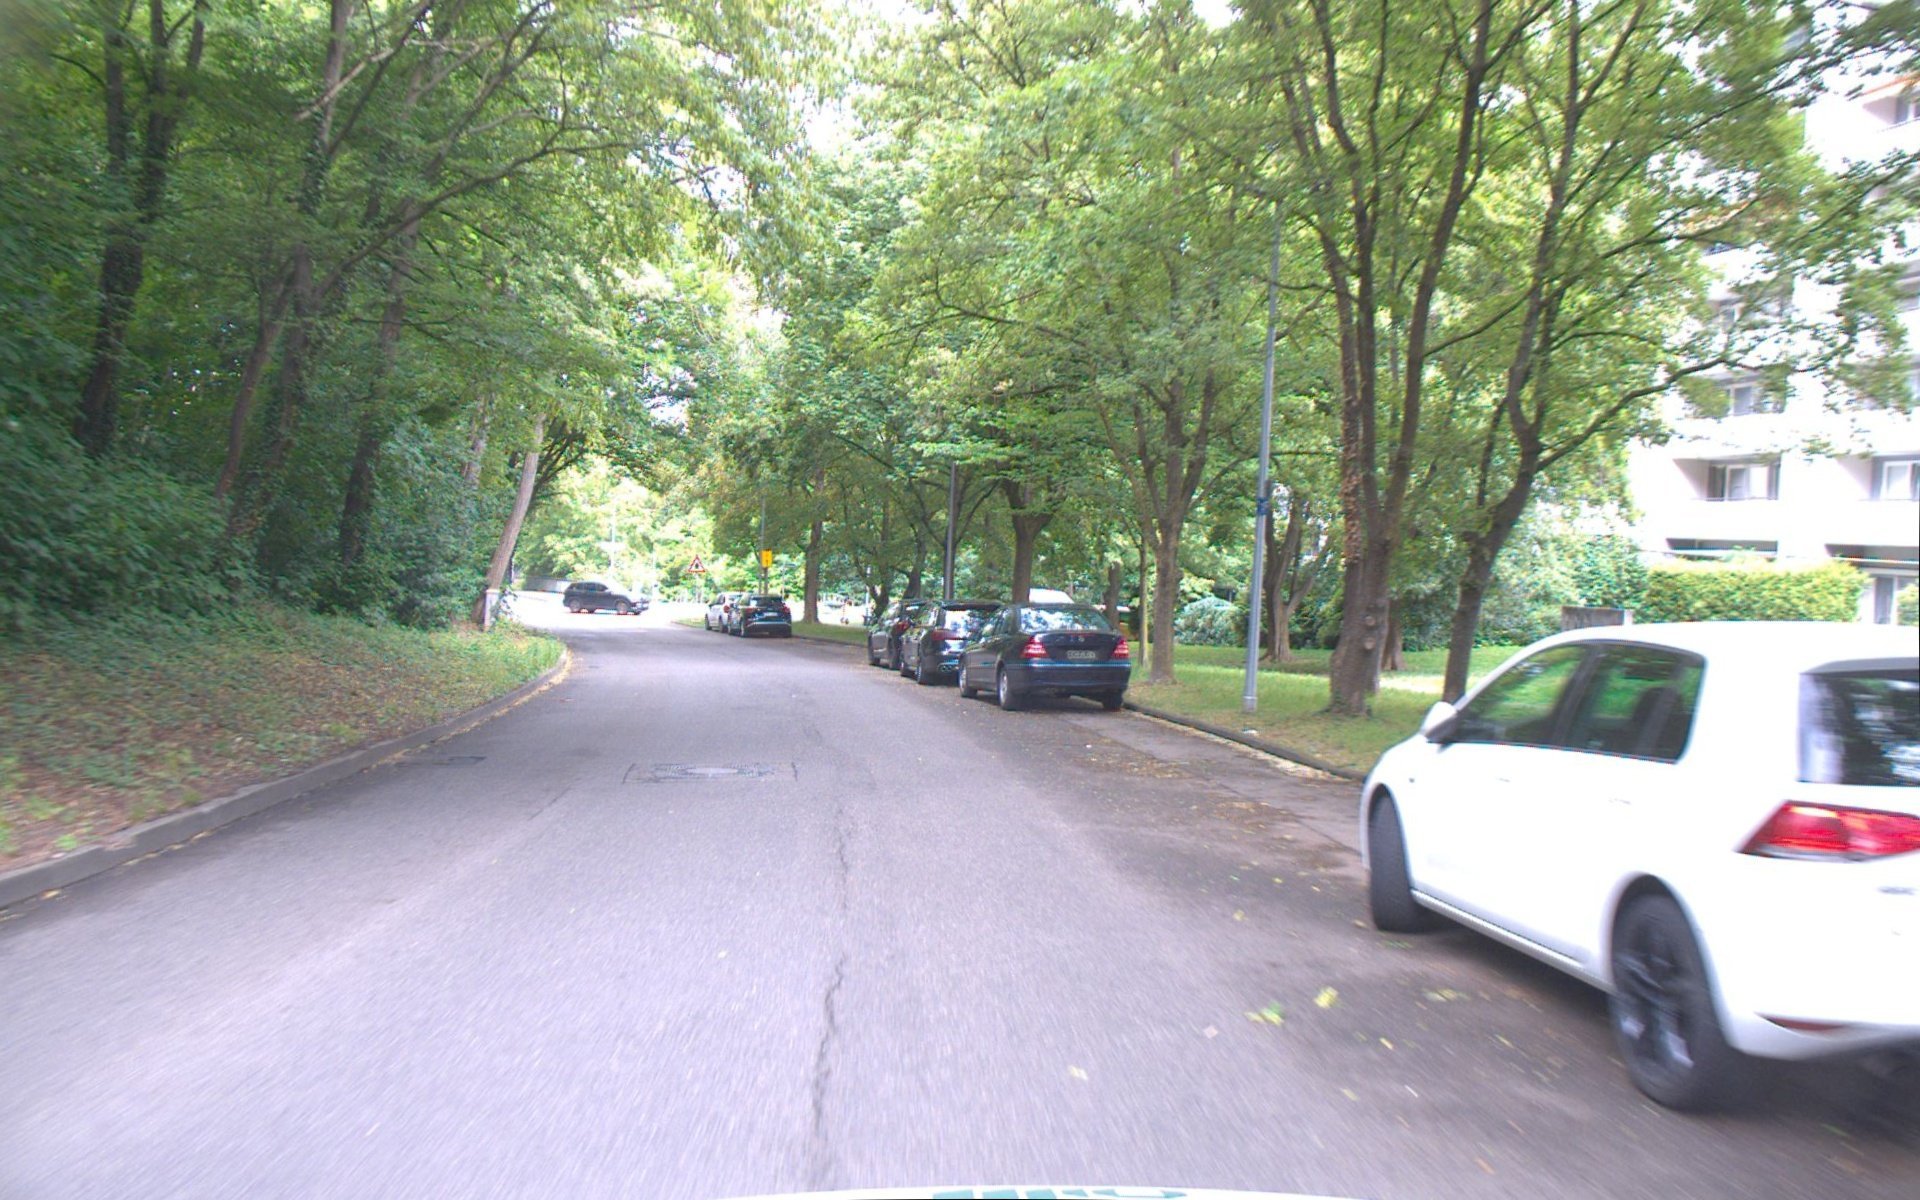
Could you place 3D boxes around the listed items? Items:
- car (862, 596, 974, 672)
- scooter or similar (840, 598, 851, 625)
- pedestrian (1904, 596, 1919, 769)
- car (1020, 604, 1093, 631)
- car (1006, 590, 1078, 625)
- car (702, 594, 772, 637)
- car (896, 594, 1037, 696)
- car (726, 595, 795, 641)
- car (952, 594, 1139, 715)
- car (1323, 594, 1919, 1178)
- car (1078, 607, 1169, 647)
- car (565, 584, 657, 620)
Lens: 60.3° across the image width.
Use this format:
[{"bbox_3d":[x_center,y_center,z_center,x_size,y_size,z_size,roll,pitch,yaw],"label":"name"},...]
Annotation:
[{"bbox_3d":[-0.953,0.684,35.238,1.653,1.490,3.885,1,0,-13],"label":"car"},{"bbox_3d":[-5.695,0.589,82.091,0.278,1.309,1.103,2,0,-17],"label":"scooter or similar"},{"bbox_3d":[9.676,0.808,15.899,0.571,1.680,0.869,1,0,-14],"label":"pedestrian"},{"bbox_3d":[5.889,1.069,101.256,4.135,1.525,1.793,1,0,-15],"label":"car"},{"bbox_3d":[5.164,0.462,104.163,4.135,2.049,1.993,1,0,-15],"label":"car"},{"bbox_3d":[-8.650,0.579,63.934,1.749,1.549,3.755,1,0,-22],"label":"car"},{"bbox_3d":[0.027,0.738,29.577,1.877,1.640,4.726,1,0,-7],"label":"car"},{"bbox_3d":[-7.241,0.624,59.771,1.746,1.549,4.163,1,0,-17],"label":"car"},{"bbox_3d":[1.098,0.698,23.340,1.561,1.491,4.304,1,0,-12],"label":"car"},{"bbox_3d":[2.859,0.753,6.413,1.656,1.508,4.102,1,0,-5],"label":"car"},{"bbox_3d":[8.501,1.400,86.221,4.317,1.881,1.828,2,0,-11],"label":"car"},{"bbox_3d":[-17.725,0.097,84.047,4.132,1.715,1.800,1,0,15],"label":"car"}]
